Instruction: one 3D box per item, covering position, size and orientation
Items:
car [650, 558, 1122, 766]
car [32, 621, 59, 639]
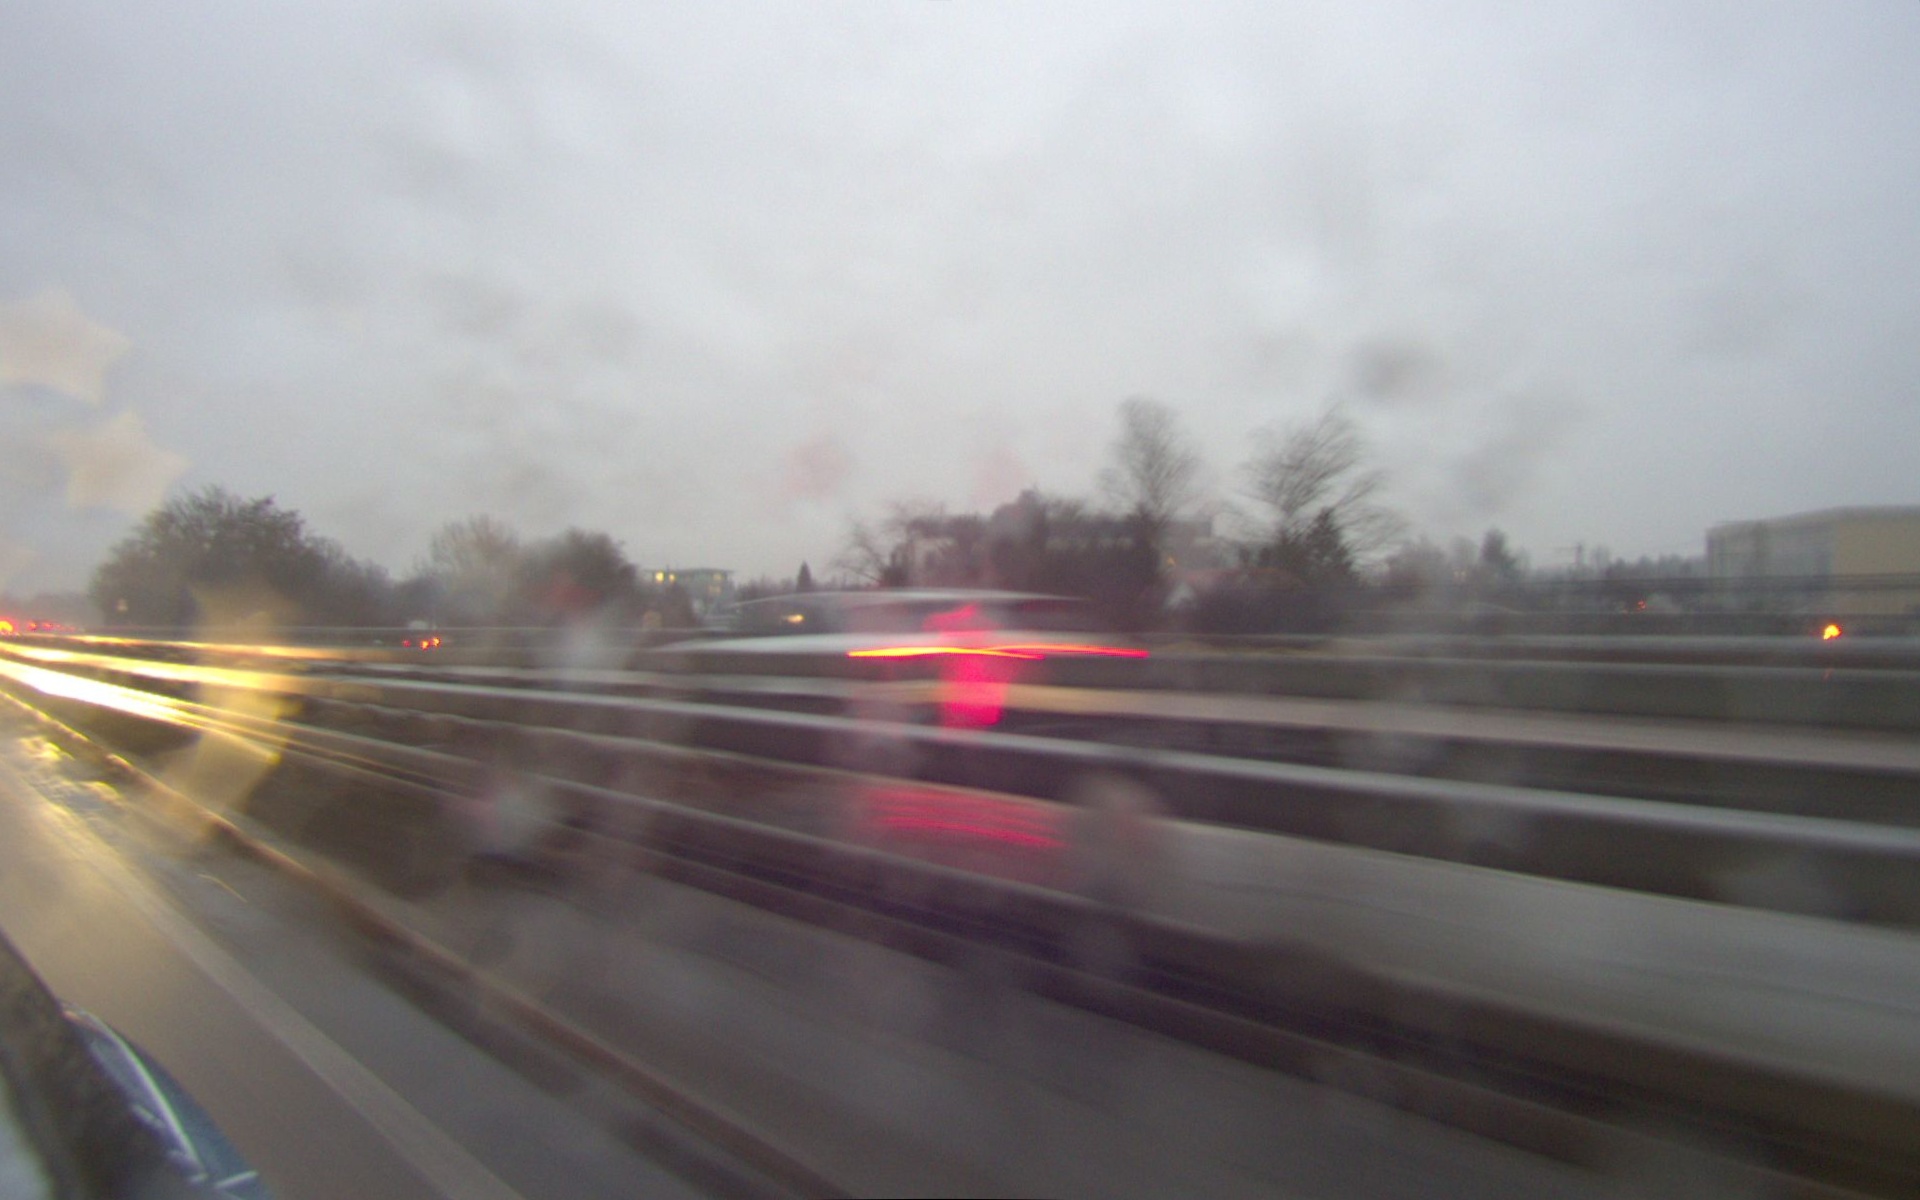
[{"bbox_3d":[-0.866,0.486,9.544,4.372,1.513,1.944,-2,-1,42],"label":"car"},{"bbox_3d":[-99.410,3.262,109.982,4.705,1.797,1.874,-2,-1,44],"label":"car"}]
